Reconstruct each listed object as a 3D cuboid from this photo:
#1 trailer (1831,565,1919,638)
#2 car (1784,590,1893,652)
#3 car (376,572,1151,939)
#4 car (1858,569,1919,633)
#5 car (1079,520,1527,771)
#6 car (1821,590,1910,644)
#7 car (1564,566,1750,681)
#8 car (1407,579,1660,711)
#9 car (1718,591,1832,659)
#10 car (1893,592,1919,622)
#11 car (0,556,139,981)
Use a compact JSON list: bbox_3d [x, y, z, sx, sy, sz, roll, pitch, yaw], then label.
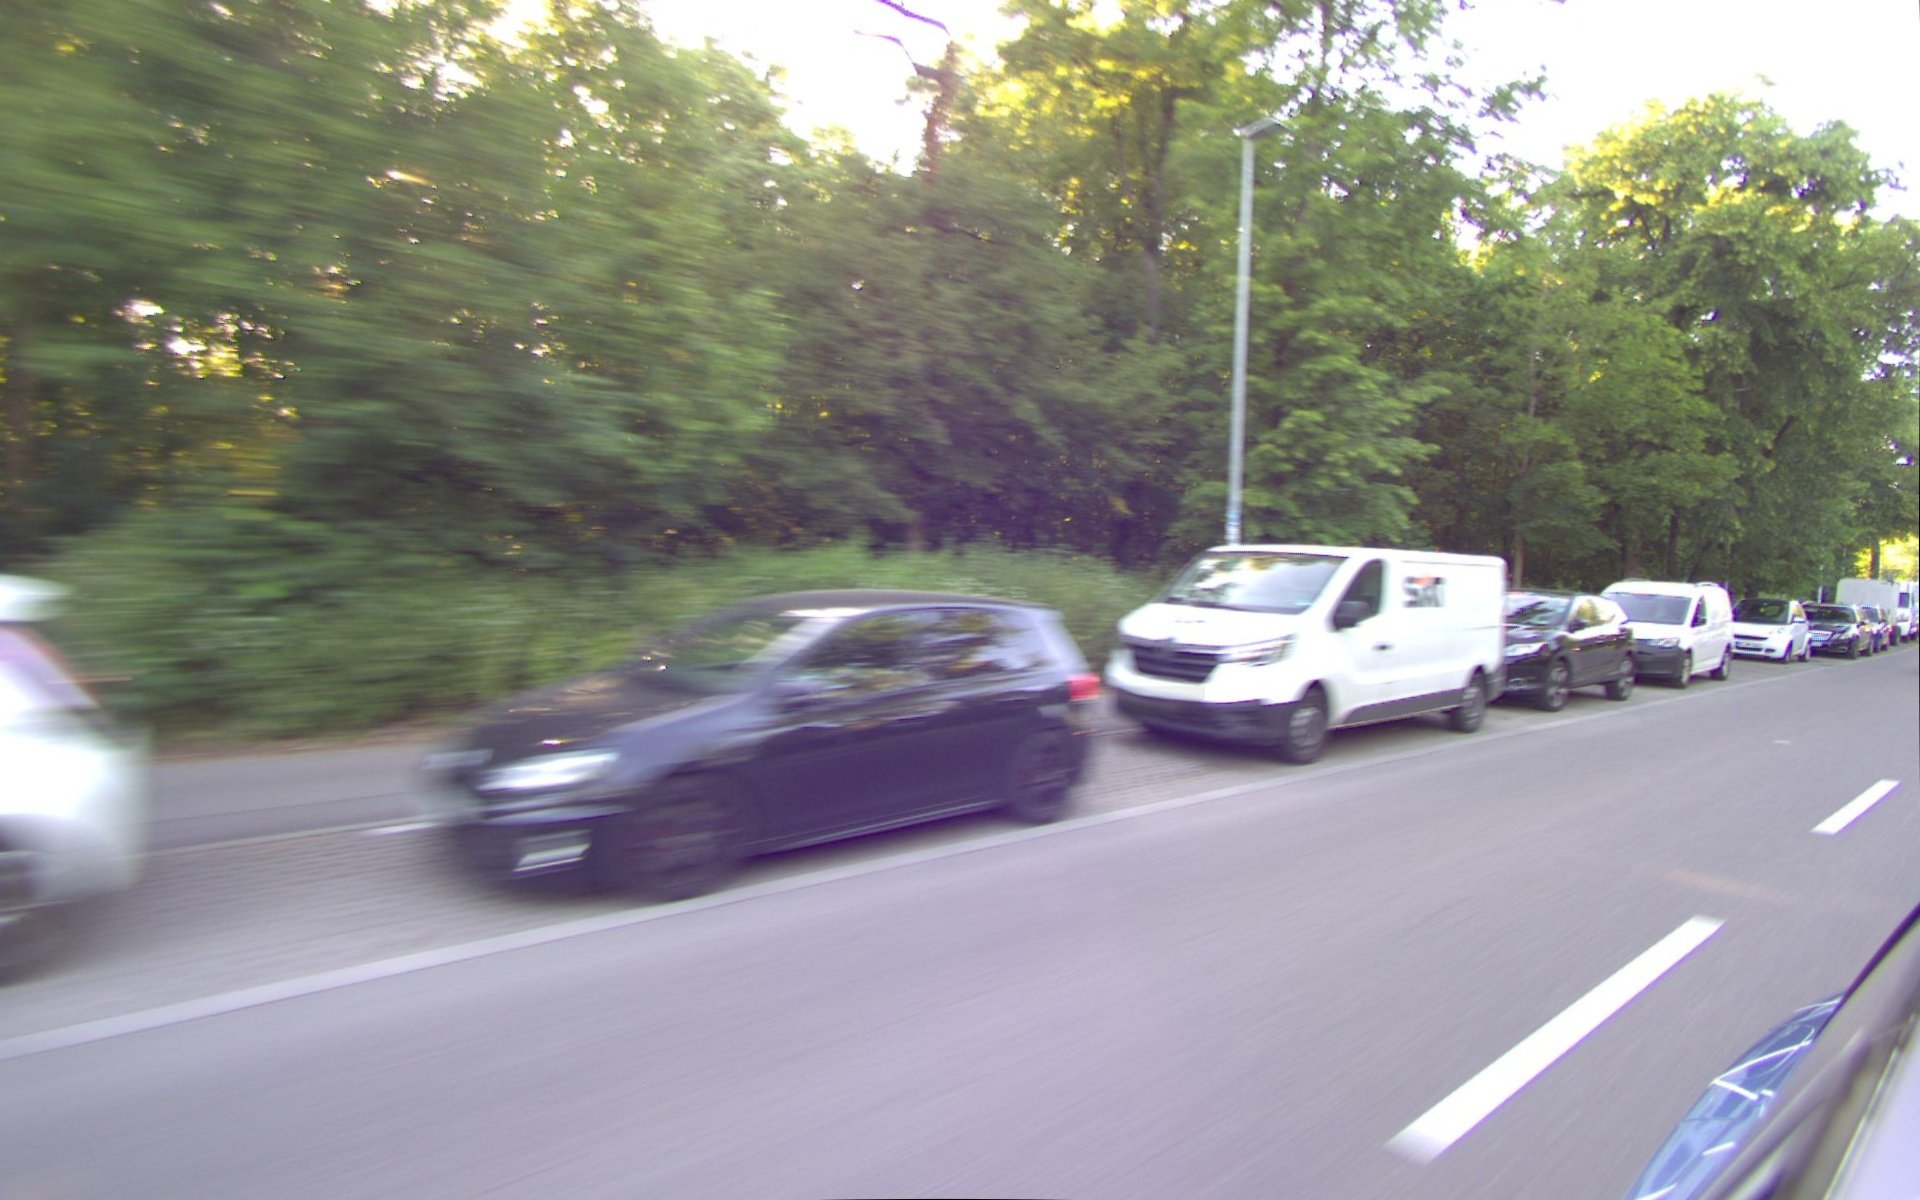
[{"bbox_3d":[34.006,0.002,37.541,5.040,2.453,1.907,-1,3,-43],"label":"trailer"},{"bbox_3d":[25.415,0.543,29.225,4.904,1.554,1.762,-1,3,-42],"label":"car"},{"bbox_3d":[-0.956,0.595,6.200,4.292,1.423,1.873,-1,3,-40],"label":"car"},{"bbox_3d":[38.970,-0.019,41.994,5.481,2.453,1.907,-1,3,-43],"label":"car"},{"bbox_3d":[3.789,0.295,10.533,5.378,2.005,1.873,-1,3,-41],"label":"car"},{"bbox_3d":[29.732,0.506,33.195,4.279,1.554,1.680,-1,3,-42],"label":"car"},{"bbox_3d":[12.995,0.342,18.747,4.656,1.826,1.762,-1,3,-42],"label":"car"},{"bbox_3d":[8.391,0.525,14.647,4.351,1.566,1.763,-1,3,-40],"label":"car"},{"bbox_3d":[20.562,0.572,25.503,3.123,1.513,1.590,0,3,-39],"label":"car"},{"bbox_3d":[51.279,0.390,54.198,3.629,1.482,1.679,-1,4,-45],"label":"car"},{"bbox_3d":[-5.037,0.587,3.244,3.730,1.471,1.590,0,3,-39],"label":"car"}]
